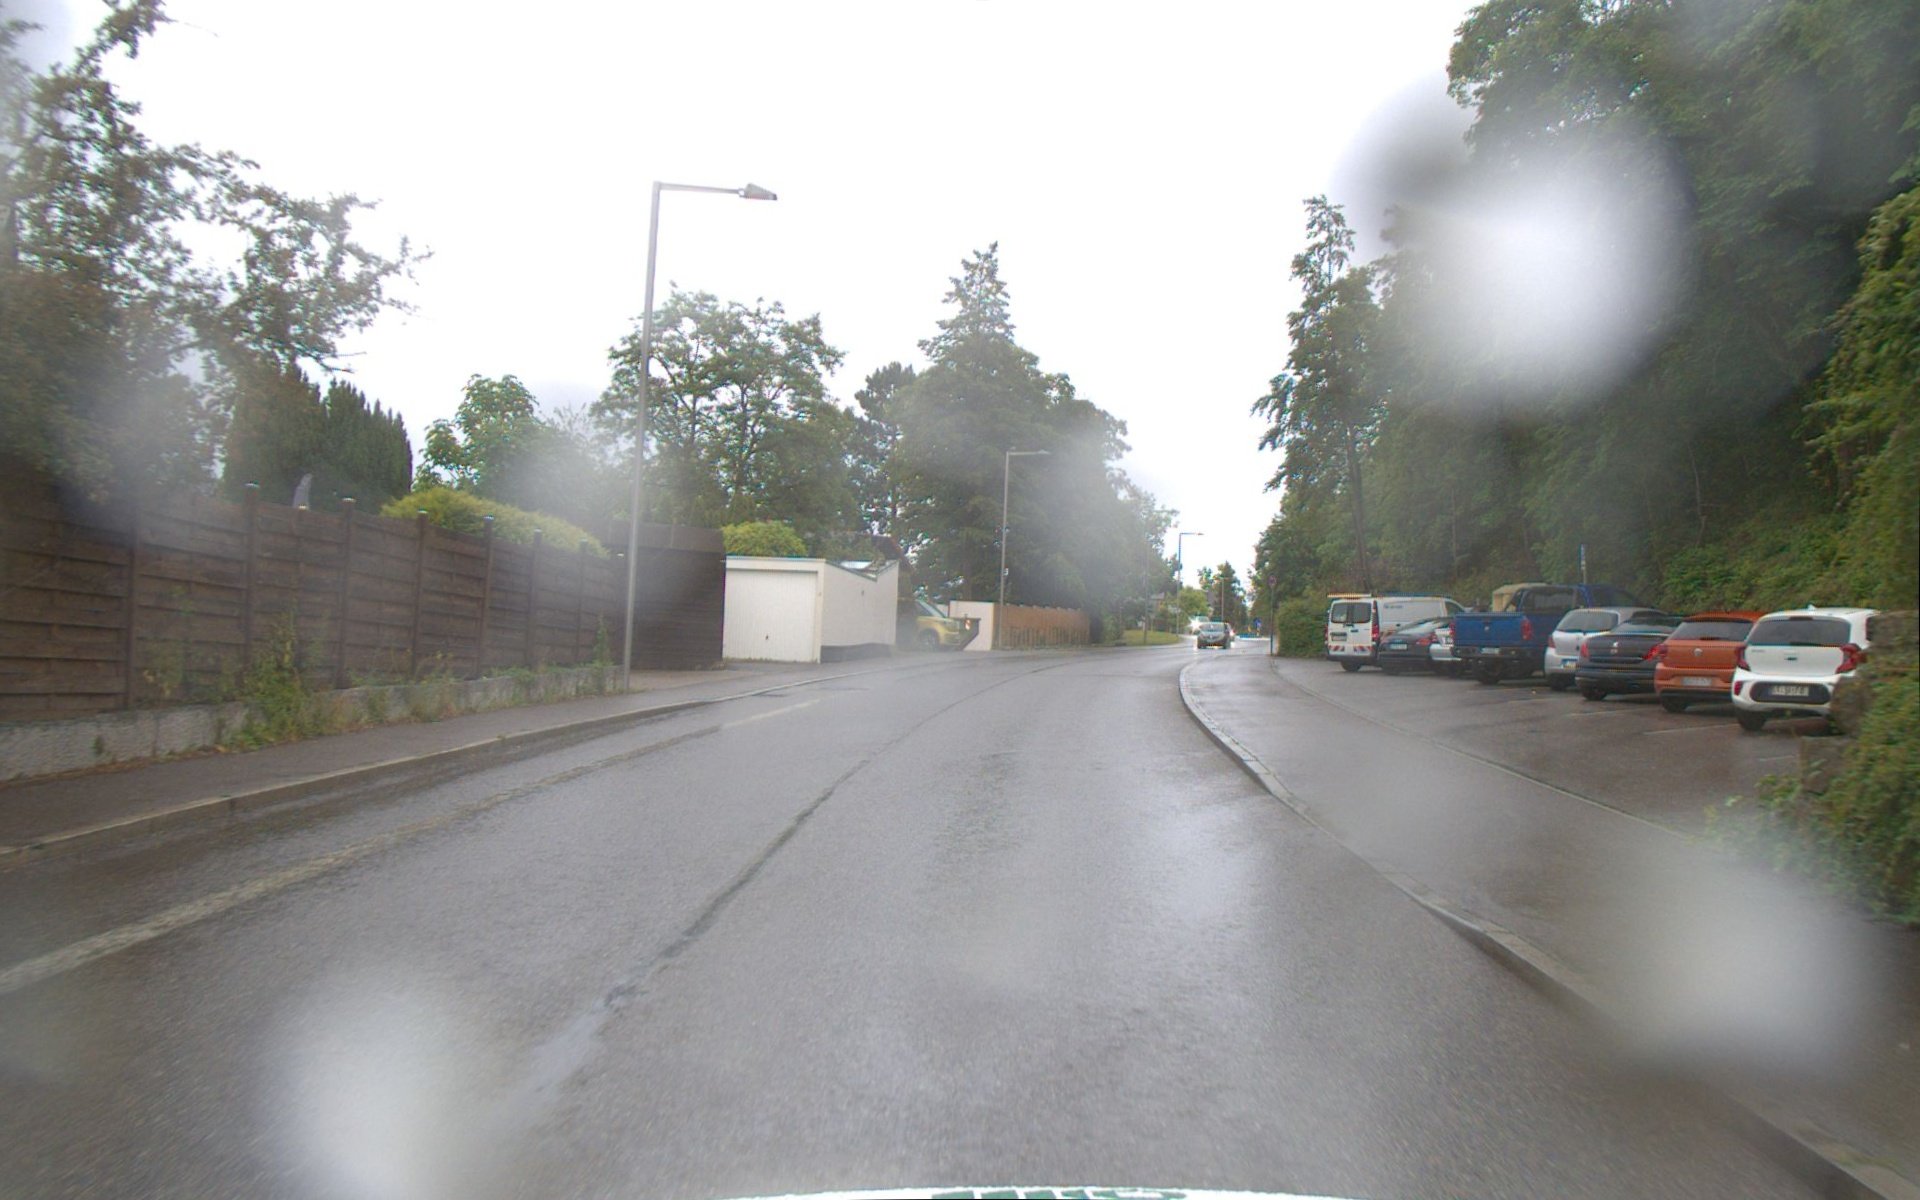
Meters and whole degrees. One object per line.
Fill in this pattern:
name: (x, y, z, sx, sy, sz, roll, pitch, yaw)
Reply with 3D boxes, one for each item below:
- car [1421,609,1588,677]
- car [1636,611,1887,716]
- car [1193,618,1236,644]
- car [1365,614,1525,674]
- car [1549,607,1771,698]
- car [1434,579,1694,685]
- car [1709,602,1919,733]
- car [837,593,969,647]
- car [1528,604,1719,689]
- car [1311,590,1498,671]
car: (12.237, 0.931, 37.074, 3.951, 1.438, 1.605, 1, -1, -37)
car: (11.788, 0.884, 24.269, 3.750, 1.426, 1.697, 0, -1, -34)
car: (15.528, 1.869, 100.744, 1.796, 1.538, 4.619, 1, -1, 18)
car: (11.566, 1.018, 39.351, 3.752, 1.372, 1.740, 1, -1, -35)
car: (11.674, 0.834, 27.529, 3.798, 1.426, 1.696, 1, -1, -35)
car: (12.419, 0.646, 33.901, 5.415, 2.003, 2.304, 1, -1, -34)
car: (11.317, 0.788, 21.121, 3.758, 1.506, 1.728, 0, 0, -39)
car: (-2.083, 0.713, 60.893, 4.407, 1.892, 2.091, 1, -1, 16)
car: (12.492, 0.839, 31.044, 3.871, 1.512, 1.597, 1, -1, -37)
car: (11.501, 0.760, 42.697, 4.785, 1.974, 2.130, 1, 0, -35)
